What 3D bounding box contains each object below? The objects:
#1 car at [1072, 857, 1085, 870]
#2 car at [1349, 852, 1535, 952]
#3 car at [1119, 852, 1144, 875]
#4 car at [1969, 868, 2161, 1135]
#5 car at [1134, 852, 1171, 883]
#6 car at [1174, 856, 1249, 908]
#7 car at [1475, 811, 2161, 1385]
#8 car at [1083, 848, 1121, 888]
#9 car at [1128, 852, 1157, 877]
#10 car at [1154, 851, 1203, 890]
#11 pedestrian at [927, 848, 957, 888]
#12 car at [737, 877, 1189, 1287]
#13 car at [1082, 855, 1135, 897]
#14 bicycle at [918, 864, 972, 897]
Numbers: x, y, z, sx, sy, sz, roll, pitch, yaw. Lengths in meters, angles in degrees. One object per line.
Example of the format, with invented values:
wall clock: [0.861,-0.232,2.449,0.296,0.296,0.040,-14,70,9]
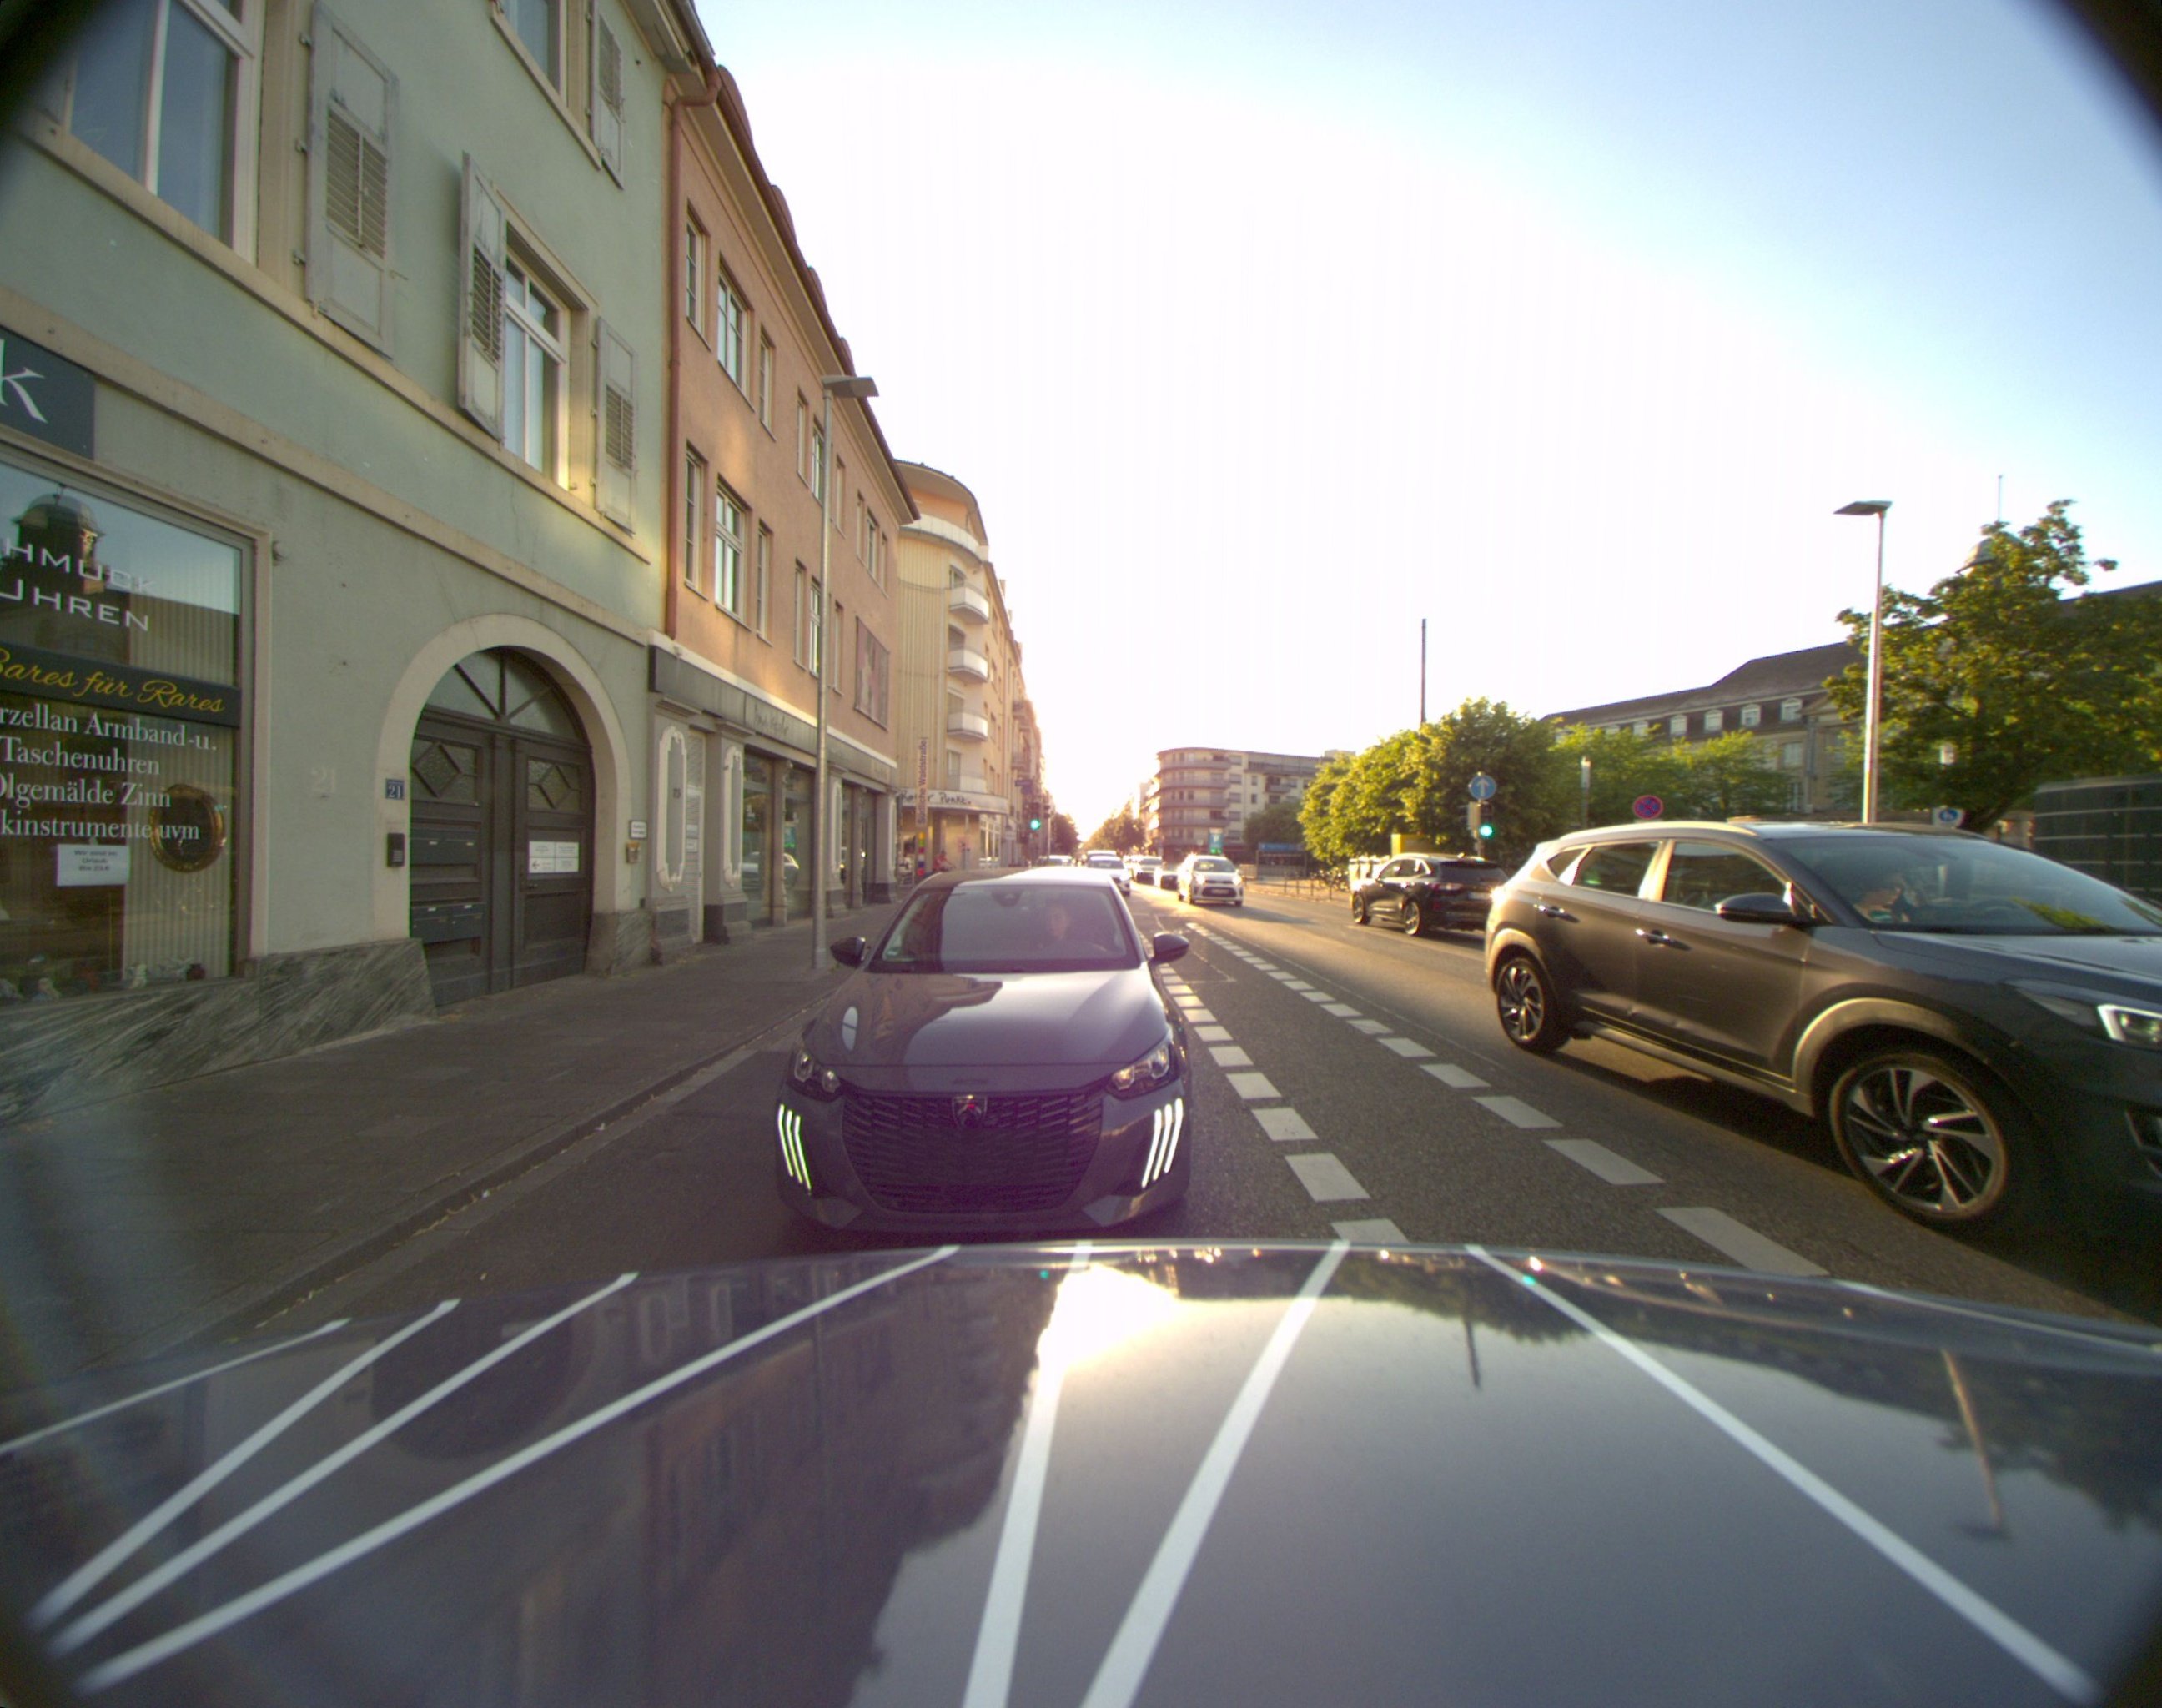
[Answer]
car: [-0.325,1.517,121.306,1.998,2.002,4.000,1,0,0]
car: [7.180,0.863,15.621,1.827,1.688,3.985,3,0,0]
car: [4.035,0.730,61.241,1.880,1.761,4.000,1,0,2]
car: [7.441,0.964,3.516,1.827,1.572,3.999,4,0,-1]
car: [4.246,0.784,45.693,1.827,1.730,3.985,2,0,0]
car: [4.048,0.816,24.150,1.718,1.463,3.985,1,0,0]
car: [4.105,0.733,4.000,1.827,1.688,4.259,1,0,0]
car: [1.051,0.694,39.385,1.827,1.918,3.985,2,0,0]
car: [4.396,0.732,54.992,1.880,1.761,4.000,1,0,2]
car: [4.704,0.748,37.249,1.827,1.730,3.985,2,0,0]
pedestrian: [-4.739,0.472,25.968,0.858,1.343,0.563,1,0,10]
car: [-0.383,0.943,4.931,1.750,1.434,3.906,2,0,3]
car: [1.001,0.797,29.362,1.827,1.463,3.985,2,0,0]
bicycle: [-4.627,0.891,25.938,1.702,1.051,0.563,1,0,10]
